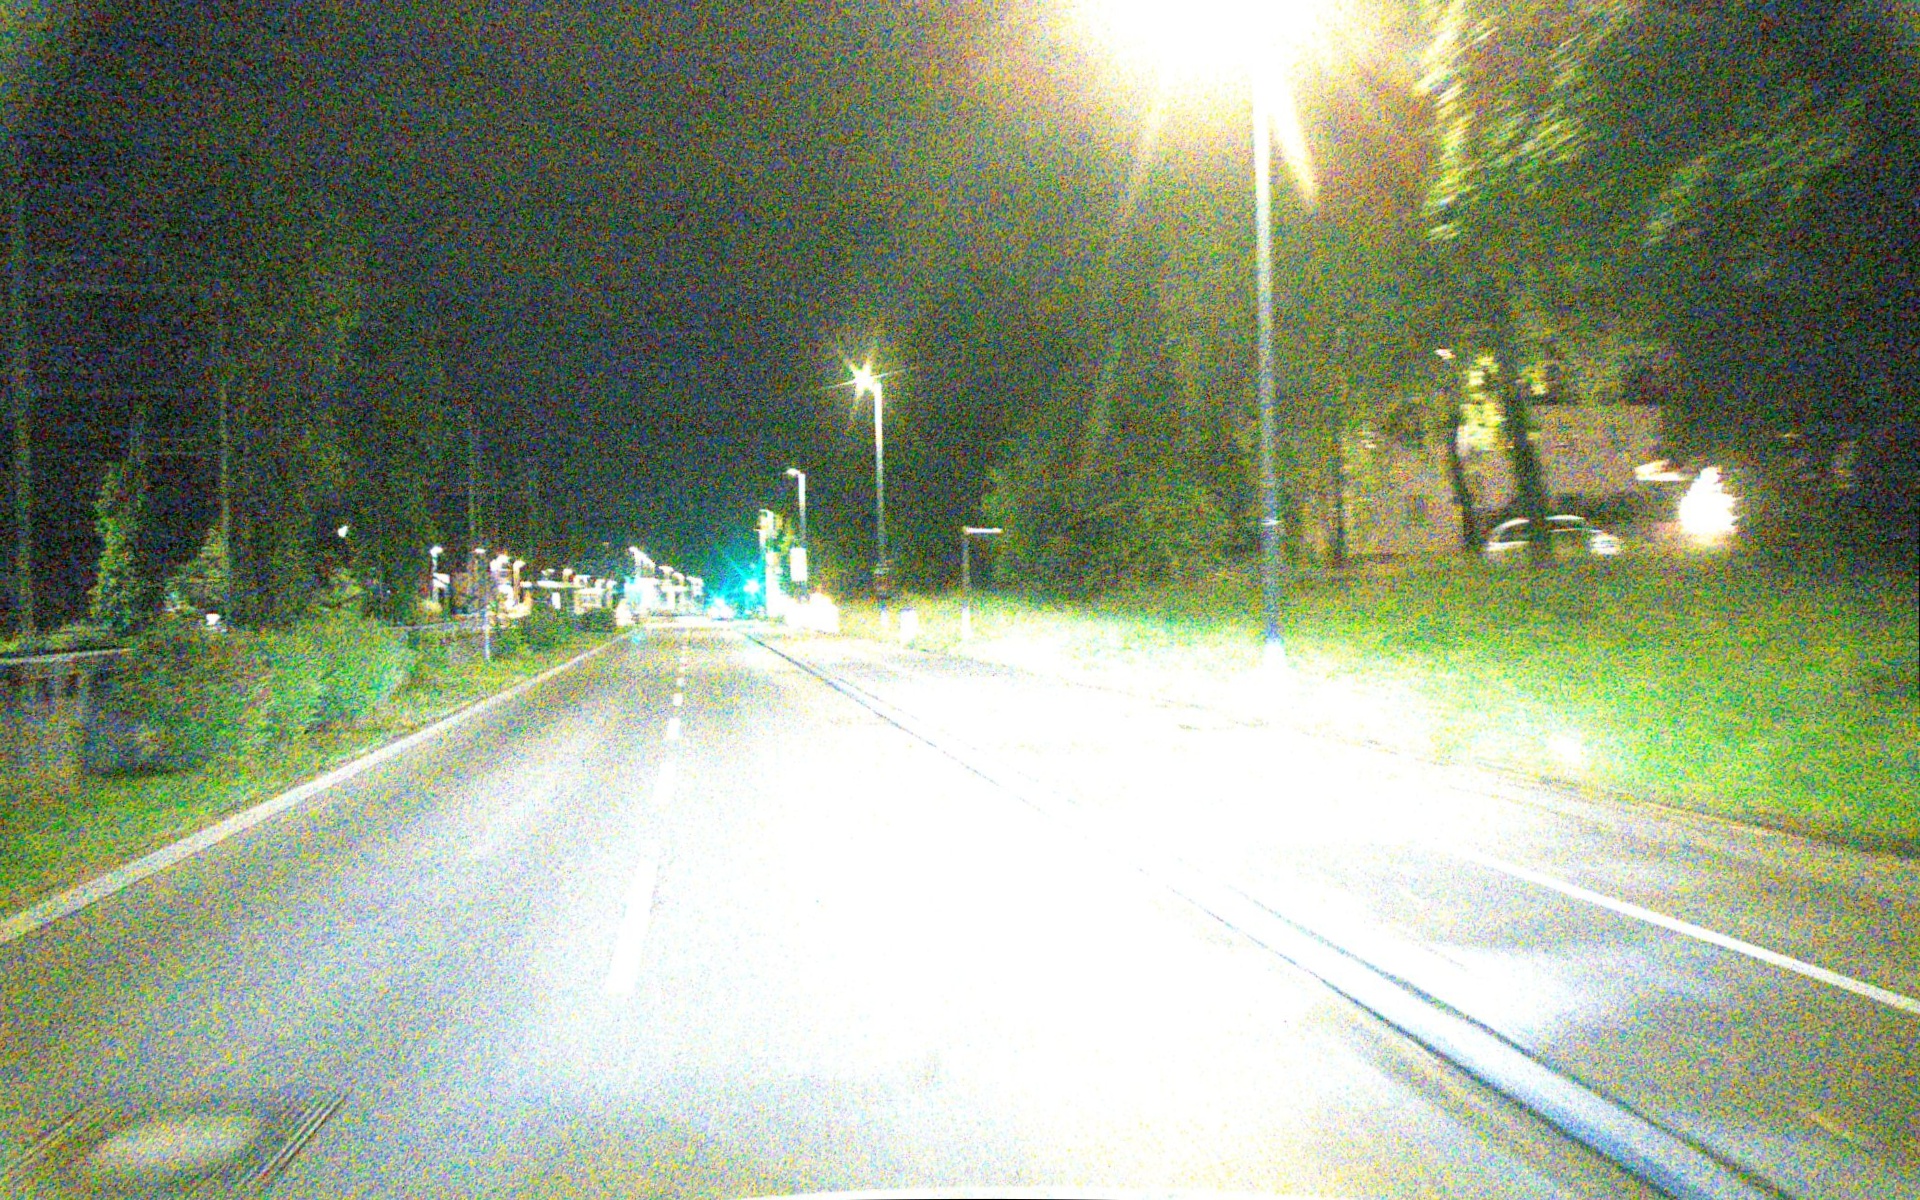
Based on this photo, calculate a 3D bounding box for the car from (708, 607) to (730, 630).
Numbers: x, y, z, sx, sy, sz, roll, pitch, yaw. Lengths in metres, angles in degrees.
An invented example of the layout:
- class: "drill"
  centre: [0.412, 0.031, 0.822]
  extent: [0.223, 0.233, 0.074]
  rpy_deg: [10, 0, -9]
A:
- class: "car"
  centre: [-23.224, 1.755, 159.616]
  extent: [2.049, 2.049, 3.992]
  rpy_deg: [-2, 0, -8]

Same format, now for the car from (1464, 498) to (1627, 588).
- class: "car"
  centre: [13.795, -1.299, 39.213]
  extent: [1.915, 1.869, 4.108]
  rpy_deg: [-4, 1, -7]
